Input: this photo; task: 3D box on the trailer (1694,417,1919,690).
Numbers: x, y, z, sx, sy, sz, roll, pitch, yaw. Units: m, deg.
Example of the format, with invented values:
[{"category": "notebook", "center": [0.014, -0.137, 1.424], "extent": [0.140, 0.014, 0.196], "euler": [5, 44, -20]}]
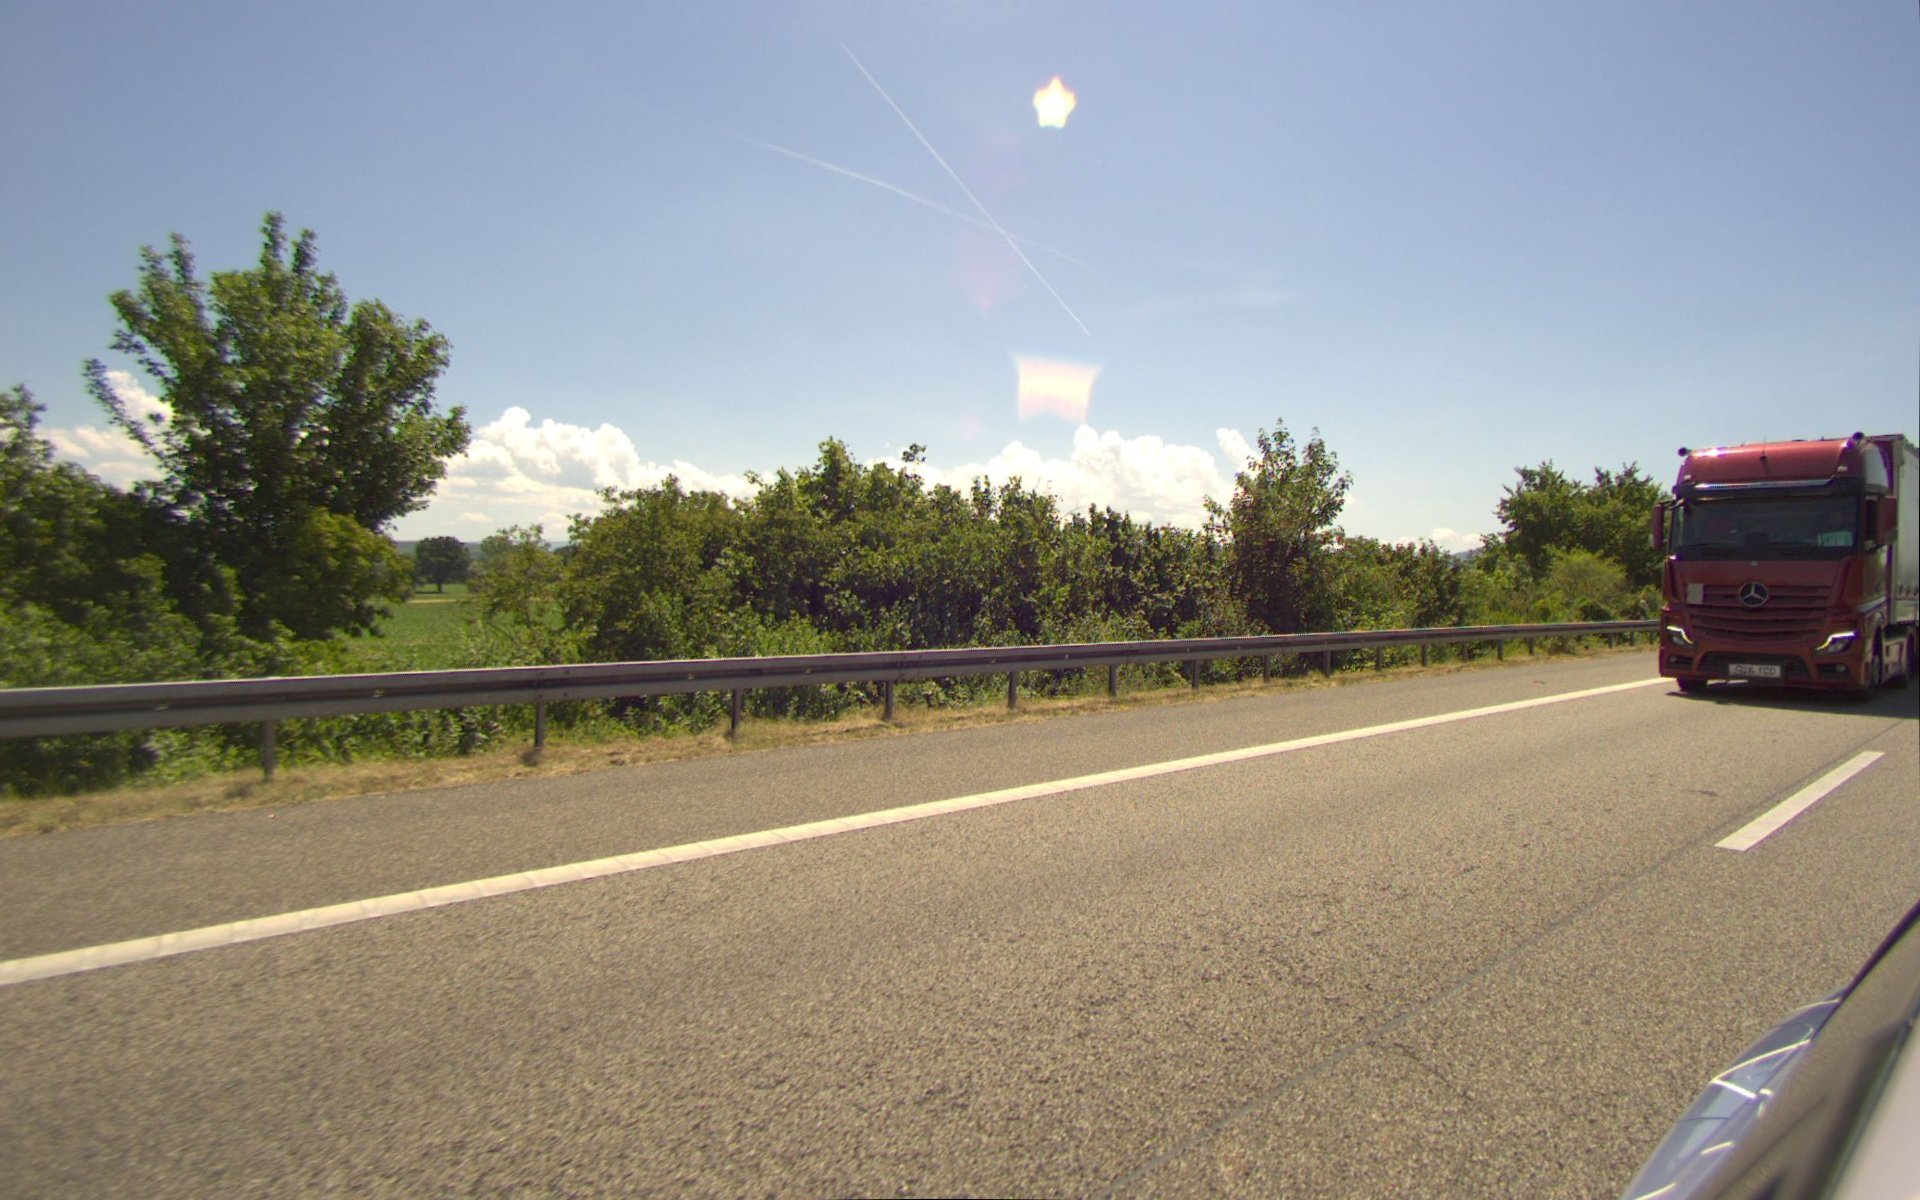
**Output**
[{"category": "trailer", "center": [18.829, -0.748, 20.944], "extent": [13.902, 4.139, 2.712], "euler": [0, 1, -41]}]

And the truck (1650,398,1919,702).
[{"category": "truck", "center": [14.314, -0.712, 17.047], "extent": [6.842, 4.139, 2.712], "euler": [0, 1, -41]}]
